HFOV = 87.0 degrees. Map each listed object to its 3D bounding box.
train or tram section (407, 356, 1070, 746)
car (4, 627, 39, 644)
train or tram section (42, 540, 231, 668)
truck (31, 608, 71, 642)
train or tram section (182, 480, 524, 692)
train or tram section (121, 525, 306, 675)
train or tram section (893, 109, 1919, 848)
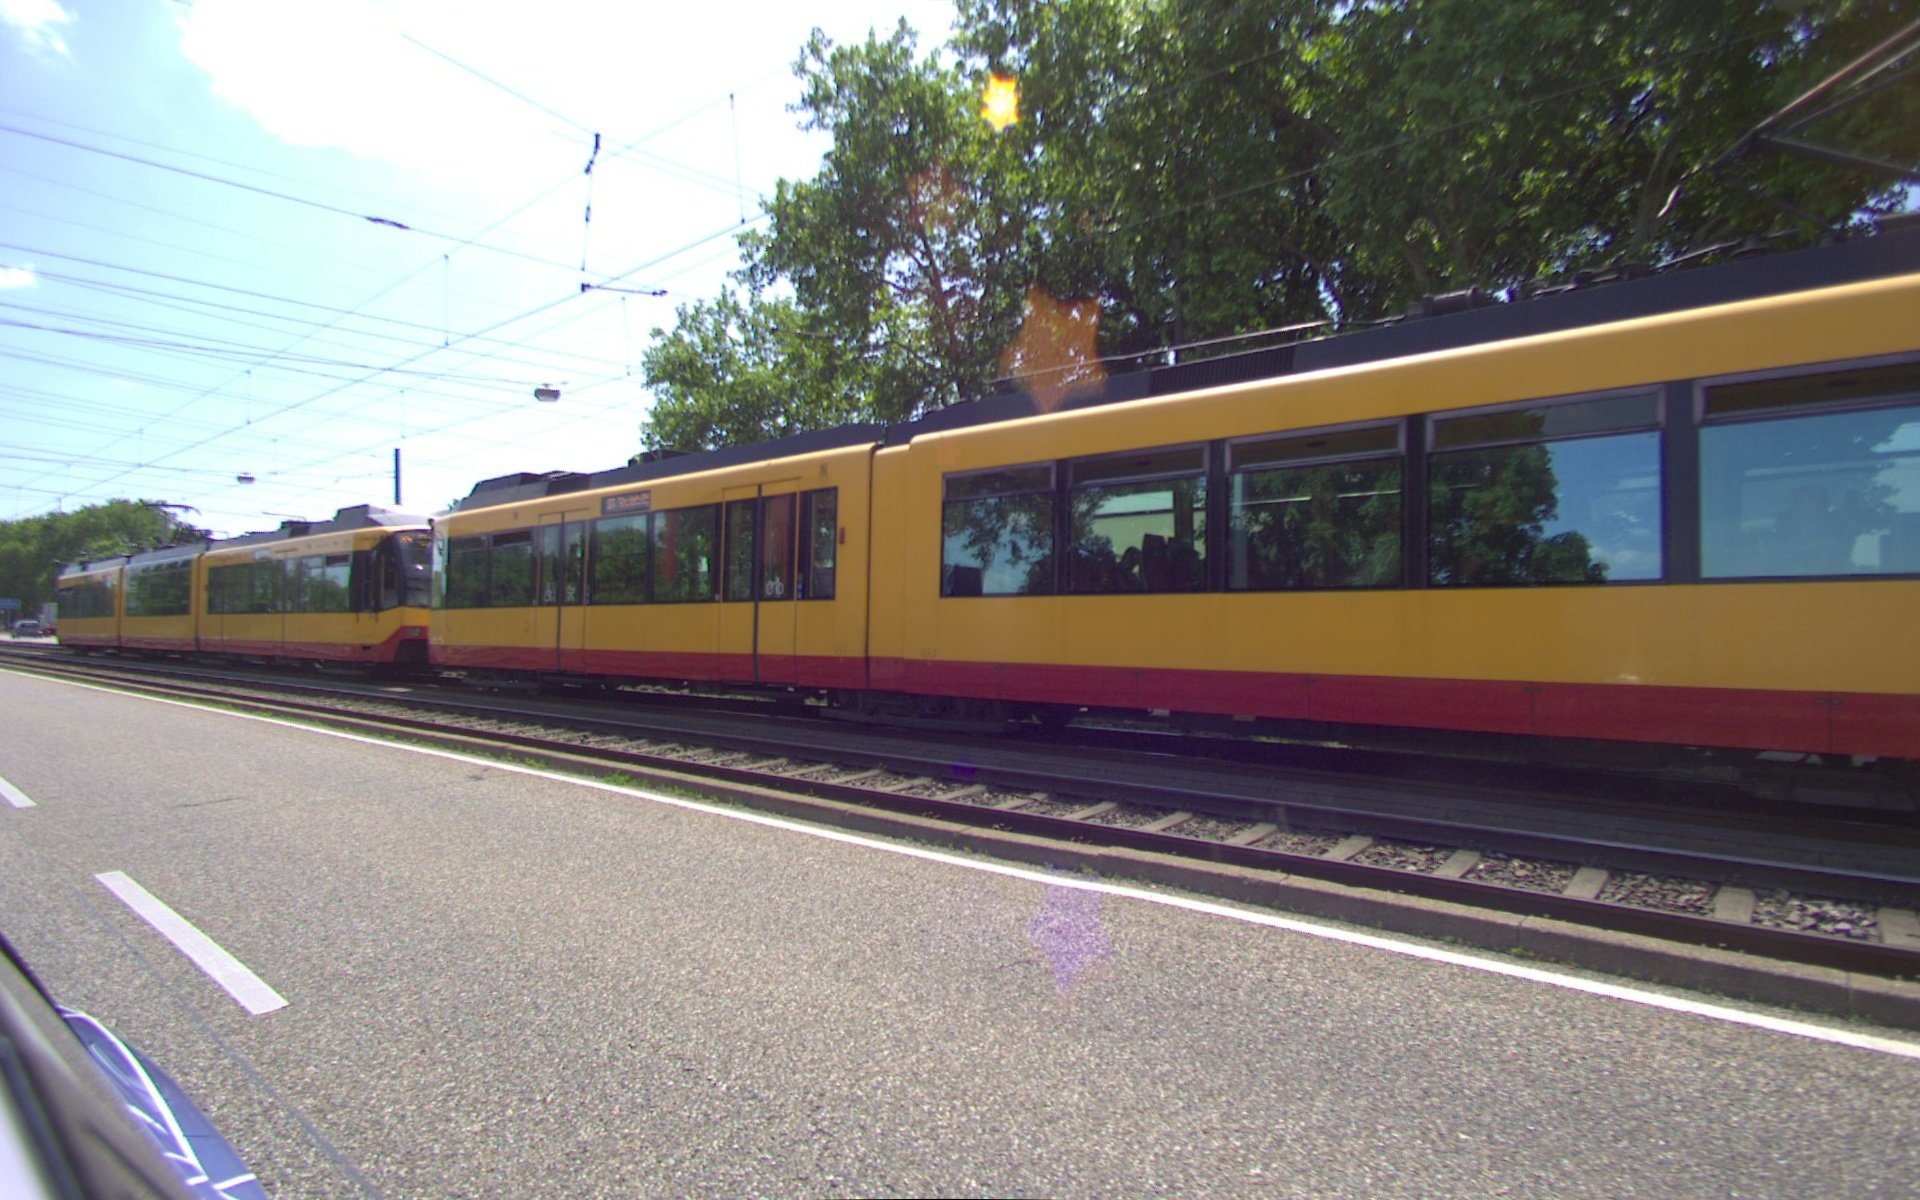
[{"bbox_3d":[-4.659,-0.402,16.402,13.473,4.186,3.006,-1,-1,41],"label":"train or tram section"},{"bbox_3d":[-83.780,3.174,90.366,3.952,1.547,1.735,-2,-2,39],"label":"car"},{"bbox_3d":[-32.990,0.292,40.101,15.410,4.299,3.017,-2,-1,40],"label":"train or tram section"},{"bbox_3d":[-89.934,2.447,100.132,6.039,3.261,2.226,-2,-2,41],"label":"truck"},{"bbox_3d":[-16.239,-0.135,26.164,14.021,4.299,3.018,-1,-1,39],"label":"train or tram section"},{"bbox_3d":[-24.336,0.083,32.811,7.995,4.299,3.018,-2,-1,40],"label":"train or tram section"},{"bbox_3d":[4.118,-0.626,8.832,10.226,4.180,3.007,-1,-1,41],"label":"train or tram section"}]
